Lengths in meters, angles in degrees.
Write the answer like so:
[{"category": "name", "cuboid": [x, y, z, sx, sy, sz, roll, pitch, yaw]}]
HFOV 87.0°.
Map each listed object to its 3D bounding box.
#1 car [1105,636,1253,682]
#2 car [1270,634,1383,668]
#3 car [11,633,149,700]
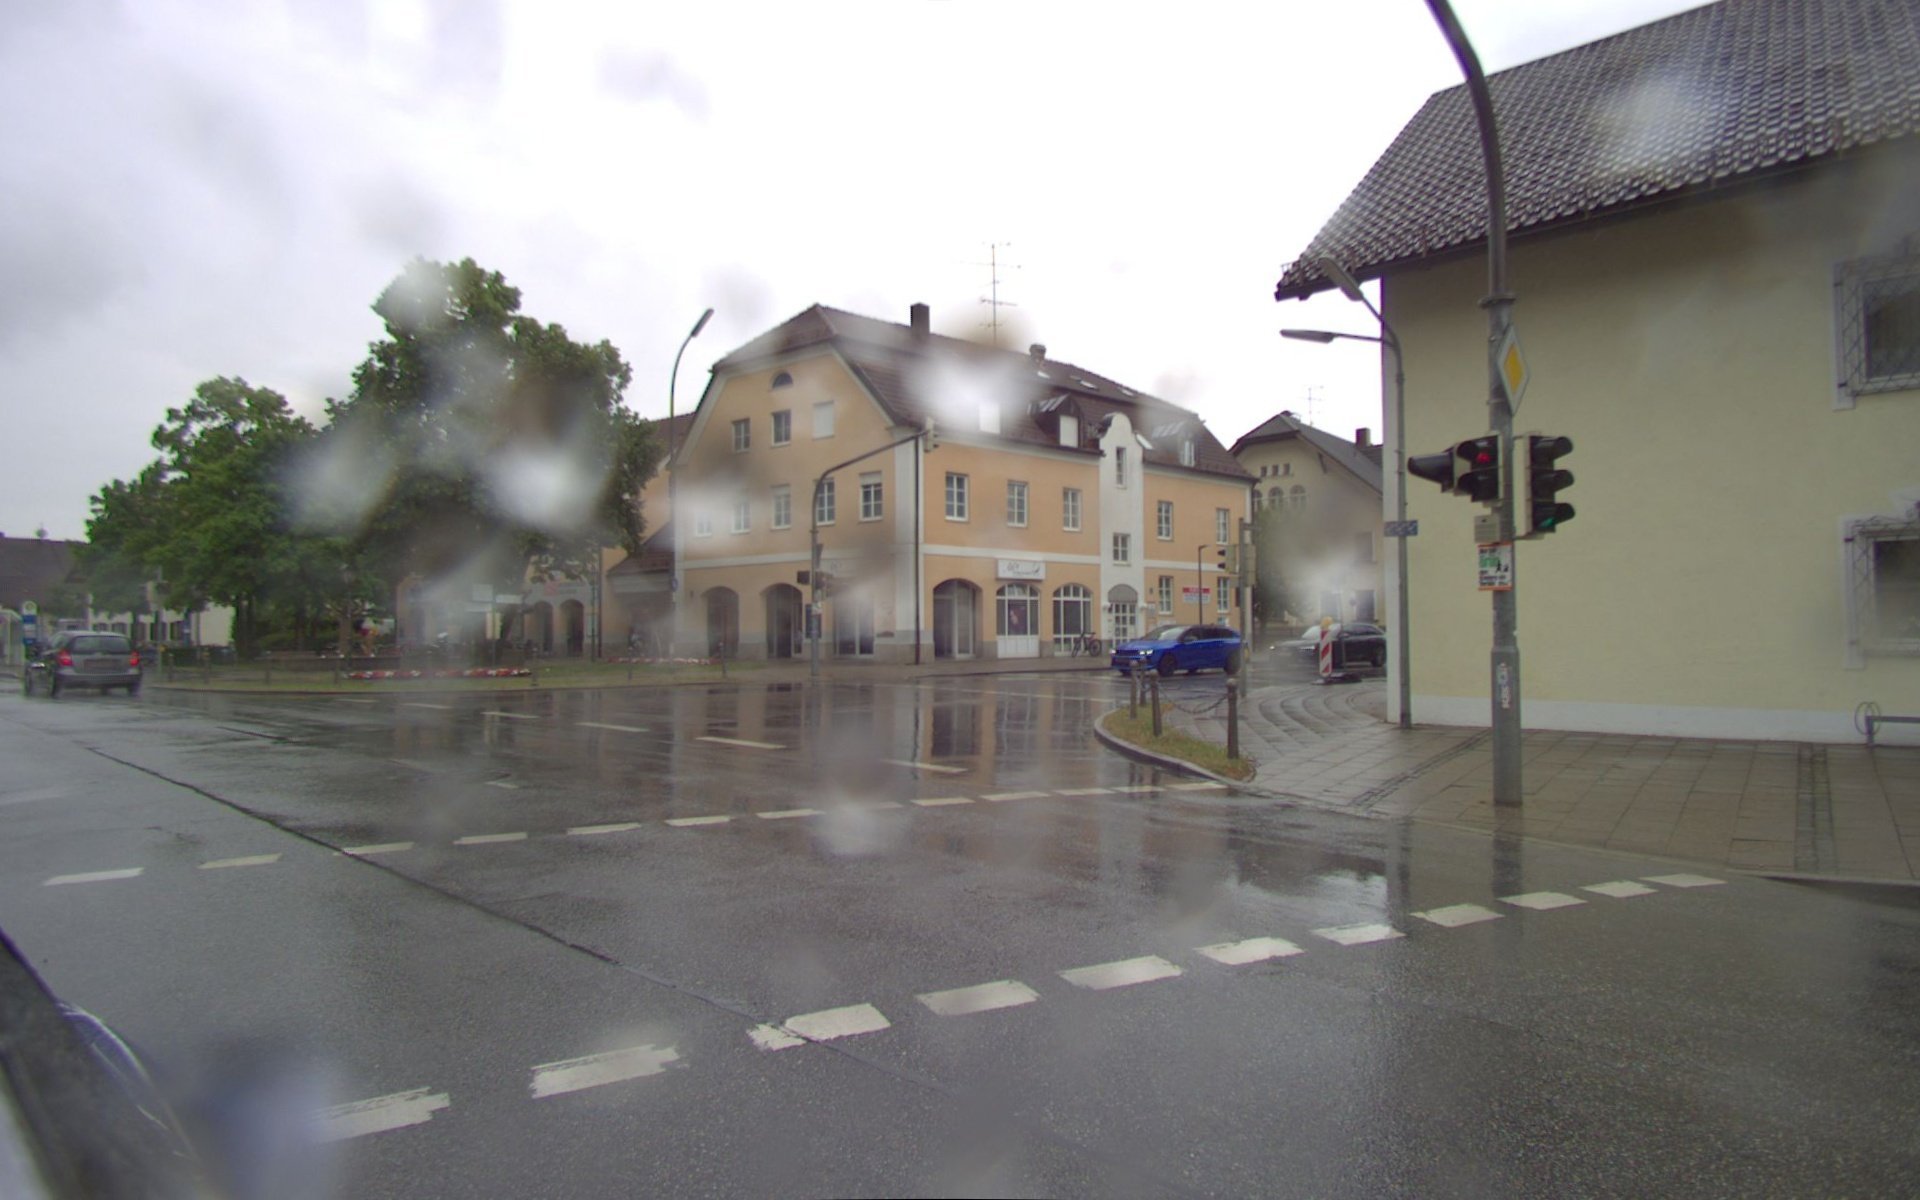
[{"category": "car", "cuboid": [6.316, 1.651, 29.038, 4.288, 1.194, 1.693, 1, -2, -35]}, {"category": "car", "cuboid": [11.982, 1.634, 32.979, 4.006, 1.025, 1.427, 1, -2, -35]}, {"category": "car", "cuboid": [-22.234, 1.619, 25.540, 3.893, 1.545, 1.897, -2, -3, 38]}]
